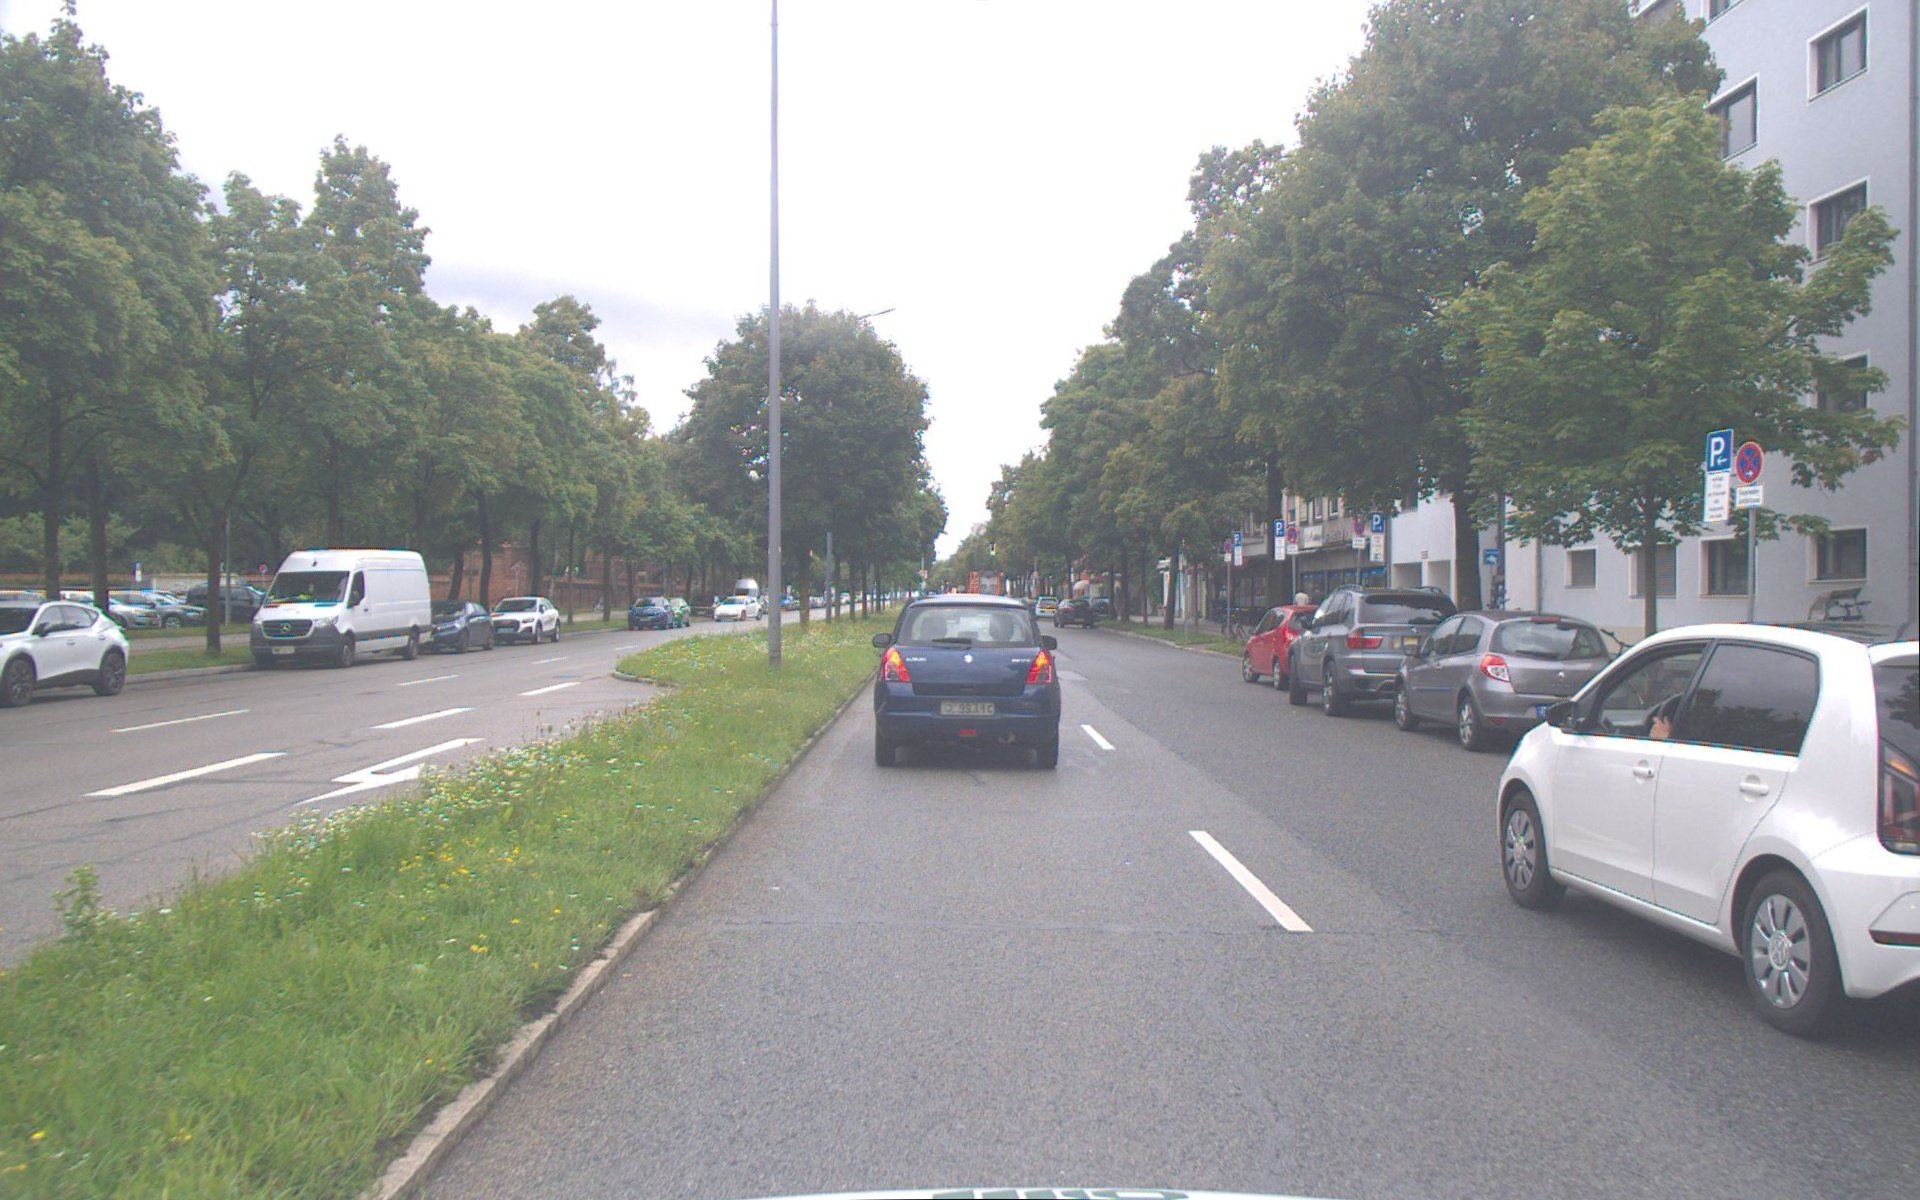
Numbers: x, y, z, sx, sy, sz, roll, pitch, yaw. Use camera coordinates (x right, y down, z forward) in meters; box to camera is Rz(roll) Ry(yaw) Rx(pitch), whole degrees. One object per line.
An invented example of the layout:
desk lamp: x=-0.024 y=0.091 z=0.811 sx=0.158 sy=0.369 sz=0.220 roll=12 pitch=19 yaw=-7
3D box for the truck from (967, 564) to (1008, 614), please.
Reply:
truck: x=2.035 y=-0.819 z=127.815 sx=2.979 sy=3.619 sz=13.674 roll=1 pitch=0 yaw=0

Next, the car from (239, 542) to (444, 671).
car: x=-14.254 y=0.104 z=38.691 sx=2.096 sy=2.690 sz=7.105 roll=-1 pitch=1 yaw=0

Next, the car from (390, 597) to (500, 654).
car: x=-14.336 y=0.703 z=46.260 sx=1.820 sy=1.517 sz=4.250 roll=0 pitch=-1 yaw=-2

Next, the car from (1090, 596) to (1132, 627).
car: x=8.323 y=0.595 z=91.532 sx=1.953 sy=1.671 sz=4.332 roll=0 pitch=0 yaw=0

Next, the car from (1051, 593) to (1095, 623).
car: x=5.714 y=0.396 z=83.837 sx=1.953 sy=1.477 sz=4.000 roll=0 pitch=0 yaw=0

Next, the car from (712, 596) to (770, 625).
car: x=-13.281 y=0.624 z=100.713 sx=1.724 sy=1.564 sz=4.316 roll=-2 pitch=0 yaw=19

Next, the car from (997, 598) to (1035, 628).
car: x=2.955 y=0.680 z=88.346 sx=1.784 sy=1.503 sz=4.690 roll=2 pitch=0 yaw=-1

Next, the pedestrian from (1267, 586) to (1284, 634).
pedestrian: x=11.479 y=0.358 z=60.164 sx=0.489 sy=1.763 sz=0.732 roll=0 pitch=0 yaw=0

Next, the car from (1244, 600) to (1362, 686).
car: x=6.291 y=0.751 z=30.667 sx=1.489 sy=1.466 sz=4.001 roll=0 pitch=0 yaw=2

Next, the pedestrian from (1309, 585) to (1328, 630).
pedestrian: x=13.119 y=0.274 z=60.593 sx=0.530 sy=1.669 sz=0.724 roll=0 pitch=0 yaw=-1

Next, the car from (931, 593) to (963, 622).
car: x=-0.735 y=0.385 z=90.194 sx=1.683 sy=1.527 sz=4.300 roll=1 pitch=0 yaw=-1

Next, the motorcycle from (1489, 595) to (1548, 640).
motorcycle: x=14.177 y=0.435 z=42.025 sx=0.745 sy=1.105 sz=2.199 roll=0 pitch=0 yaw=0

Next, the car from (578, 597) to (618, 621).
car: x=-24.298 y=0.587 z=111.074 sx=1.777 sy=1.563 sz=4.297 roll=1 pitch=0 yaw=-1

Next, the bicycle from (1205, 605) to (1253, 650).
bicycle: x=7.885 y=0.787 z=48.599 sx=0.447 sy=1.278 sz=2.138 roll=0 pitch=0 yaw=-18

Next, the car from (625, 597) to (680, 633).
car: x=-14.318 y=0.665 z=77.125 sx=1.849 sy=1.564 sz=4.312 roll=-2 pitch=0 yaw=-2

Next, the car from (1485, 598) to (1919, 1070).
car: x=3.714 y=0.759 z=7.116 sx=1.653 sy=1.516 sz=3.432 roll=0 pitch=0 yaw=-4

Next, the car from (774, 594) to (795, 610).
car: x=-17.273 y=0.178 z=162.673 sx=1.671 sy=1.561 sz=3.999 roll=0 pitch=0 yaw=-1

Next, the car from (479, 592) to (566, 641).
car: x=-14.247 y=0.553 z=54.070 sx=1.820 sy=1.517 sz=4.140 roll=0 pitch=-1 yaw=-2

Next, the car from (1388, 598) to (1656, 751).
car: x=6.240 y=0.762 z=18.823 sx=1.792 sy=1.549 sz=3.771 roll=0 pitch=0 yaw=0

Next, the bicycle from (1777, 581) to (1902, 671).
bicycle: x=14.912 y=0.413 z=28.123 sx=0.688 sy=1.432 sz=2.592 roll=-2 pitch=0 yaw=0

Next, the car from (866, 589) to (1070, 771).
car: x=0.079 y=0.670 z=15.994 sx=1.717 sy=1.531 sz=4.000 roll=0 pitch=0 yaw=0

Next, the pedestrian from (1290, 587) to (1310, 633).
pedestrian: x=12.376 y=0.368 z=60.180 sx=0.537 sy=1.658 sz=0.641 roll=-1 pitch=0 yaw=-1

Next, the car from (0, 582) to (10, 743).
car: x=-10.786 y=0.657 z=14.689 sx=1.983 sy=1.648 sz=4.683 roll=-1 pitch=0 yaw=0

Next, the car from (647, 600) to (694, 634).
car: x=-14.437 y=0.837 z=82.707 sx=1.605 sy=1.564 sz=4.314 roll=-2 pitch=0 yaw=-1

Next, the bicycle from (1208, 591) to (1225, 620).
bicycle: x=13.139 y=0.292 z=84.780 sx=0.568 sy=1.489 sz=1.688 roll=0 pitch=0 yaw=0

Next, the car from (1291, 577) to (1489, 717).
car: x=5.962 y=0.595 z=23.473 sx=1.791 sy=1.776 sz=4.509 roll=0 pitch=0 yaw=2

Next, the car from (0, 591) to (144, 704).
car: x=-14.108 y=0.706 z=24.688 sx=1.785 sy=1.554 sz=4.297 roll=-1 pitch=-1 yaw=-2

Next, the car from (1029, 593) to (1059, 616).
car: x=5.479 y=0.271 z=108.389 sx=1.620 sy=1.477 sz=3.998 roll=0 pitch=0 yaw=-3
